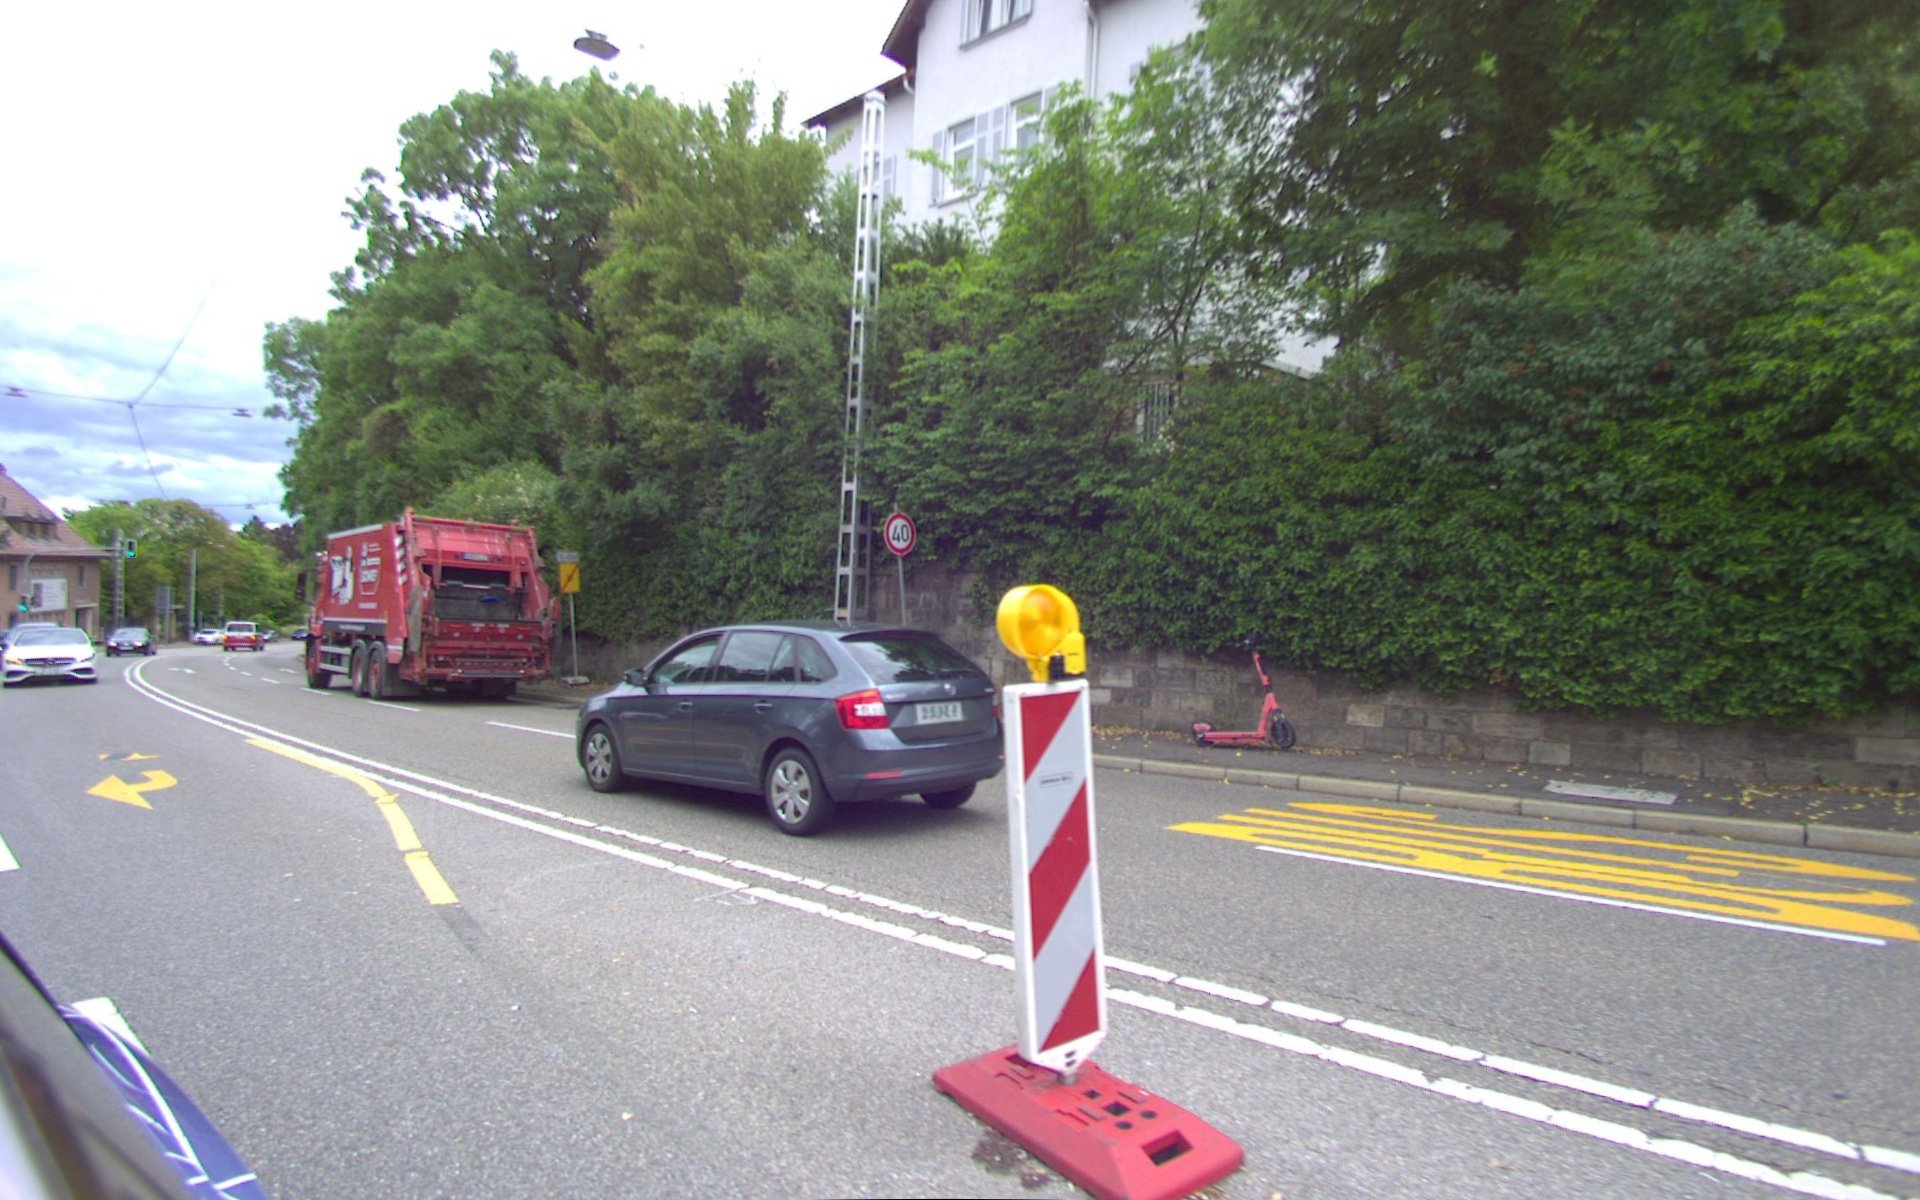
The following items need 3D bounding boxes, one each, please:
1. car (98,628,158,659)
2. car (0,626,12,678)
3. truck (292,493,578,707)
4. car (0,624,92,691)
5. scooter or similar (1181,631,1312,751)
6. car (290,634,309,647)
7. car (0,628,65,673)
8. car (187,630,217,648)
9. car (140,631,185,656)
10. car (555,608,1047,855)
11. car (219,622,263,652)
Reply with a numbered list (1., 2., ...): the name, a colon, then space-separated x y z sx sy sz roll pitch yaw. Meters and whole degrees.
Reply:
1. car: -43.085 2.215 52.485 1.763 1.492 4.257 -1 -1 -31
2. car: -29.581 1.568 29.950 1.764 1.563 4.254 -1 -1 -37
3. truck: -11.797 0.185 22.071 2.826 3.726 9.666 5 -5 -43
4. car: -23.037 1.391 25.350 1.766 1.492 4.249 -1 -1 -43
5. scooter or similar: 3.092 0.957 10.961 1.277 1.218 0.425 -1 1 31
6. car: -81.109 4.974 124.225 1.763 1.492 4.257 -1 -1 -31
7. car: -33.409 1.764 36.186 1.771 1.522 4.008 2 -2 -37
8. car: -70.183 3.587 93.793 1.763 1.492 4.257 -1 -1 -31
9. car: -51.494 2.761 65.423 1.763 1.492 4.257 -1 -1 -31
10. car: -1.418 0.850 8.030 3.998 1.472 1.696 -2 -3 41
11. car: -48.845 2.528 68.808 1.963 1.920 4.257 2 -3 -30
